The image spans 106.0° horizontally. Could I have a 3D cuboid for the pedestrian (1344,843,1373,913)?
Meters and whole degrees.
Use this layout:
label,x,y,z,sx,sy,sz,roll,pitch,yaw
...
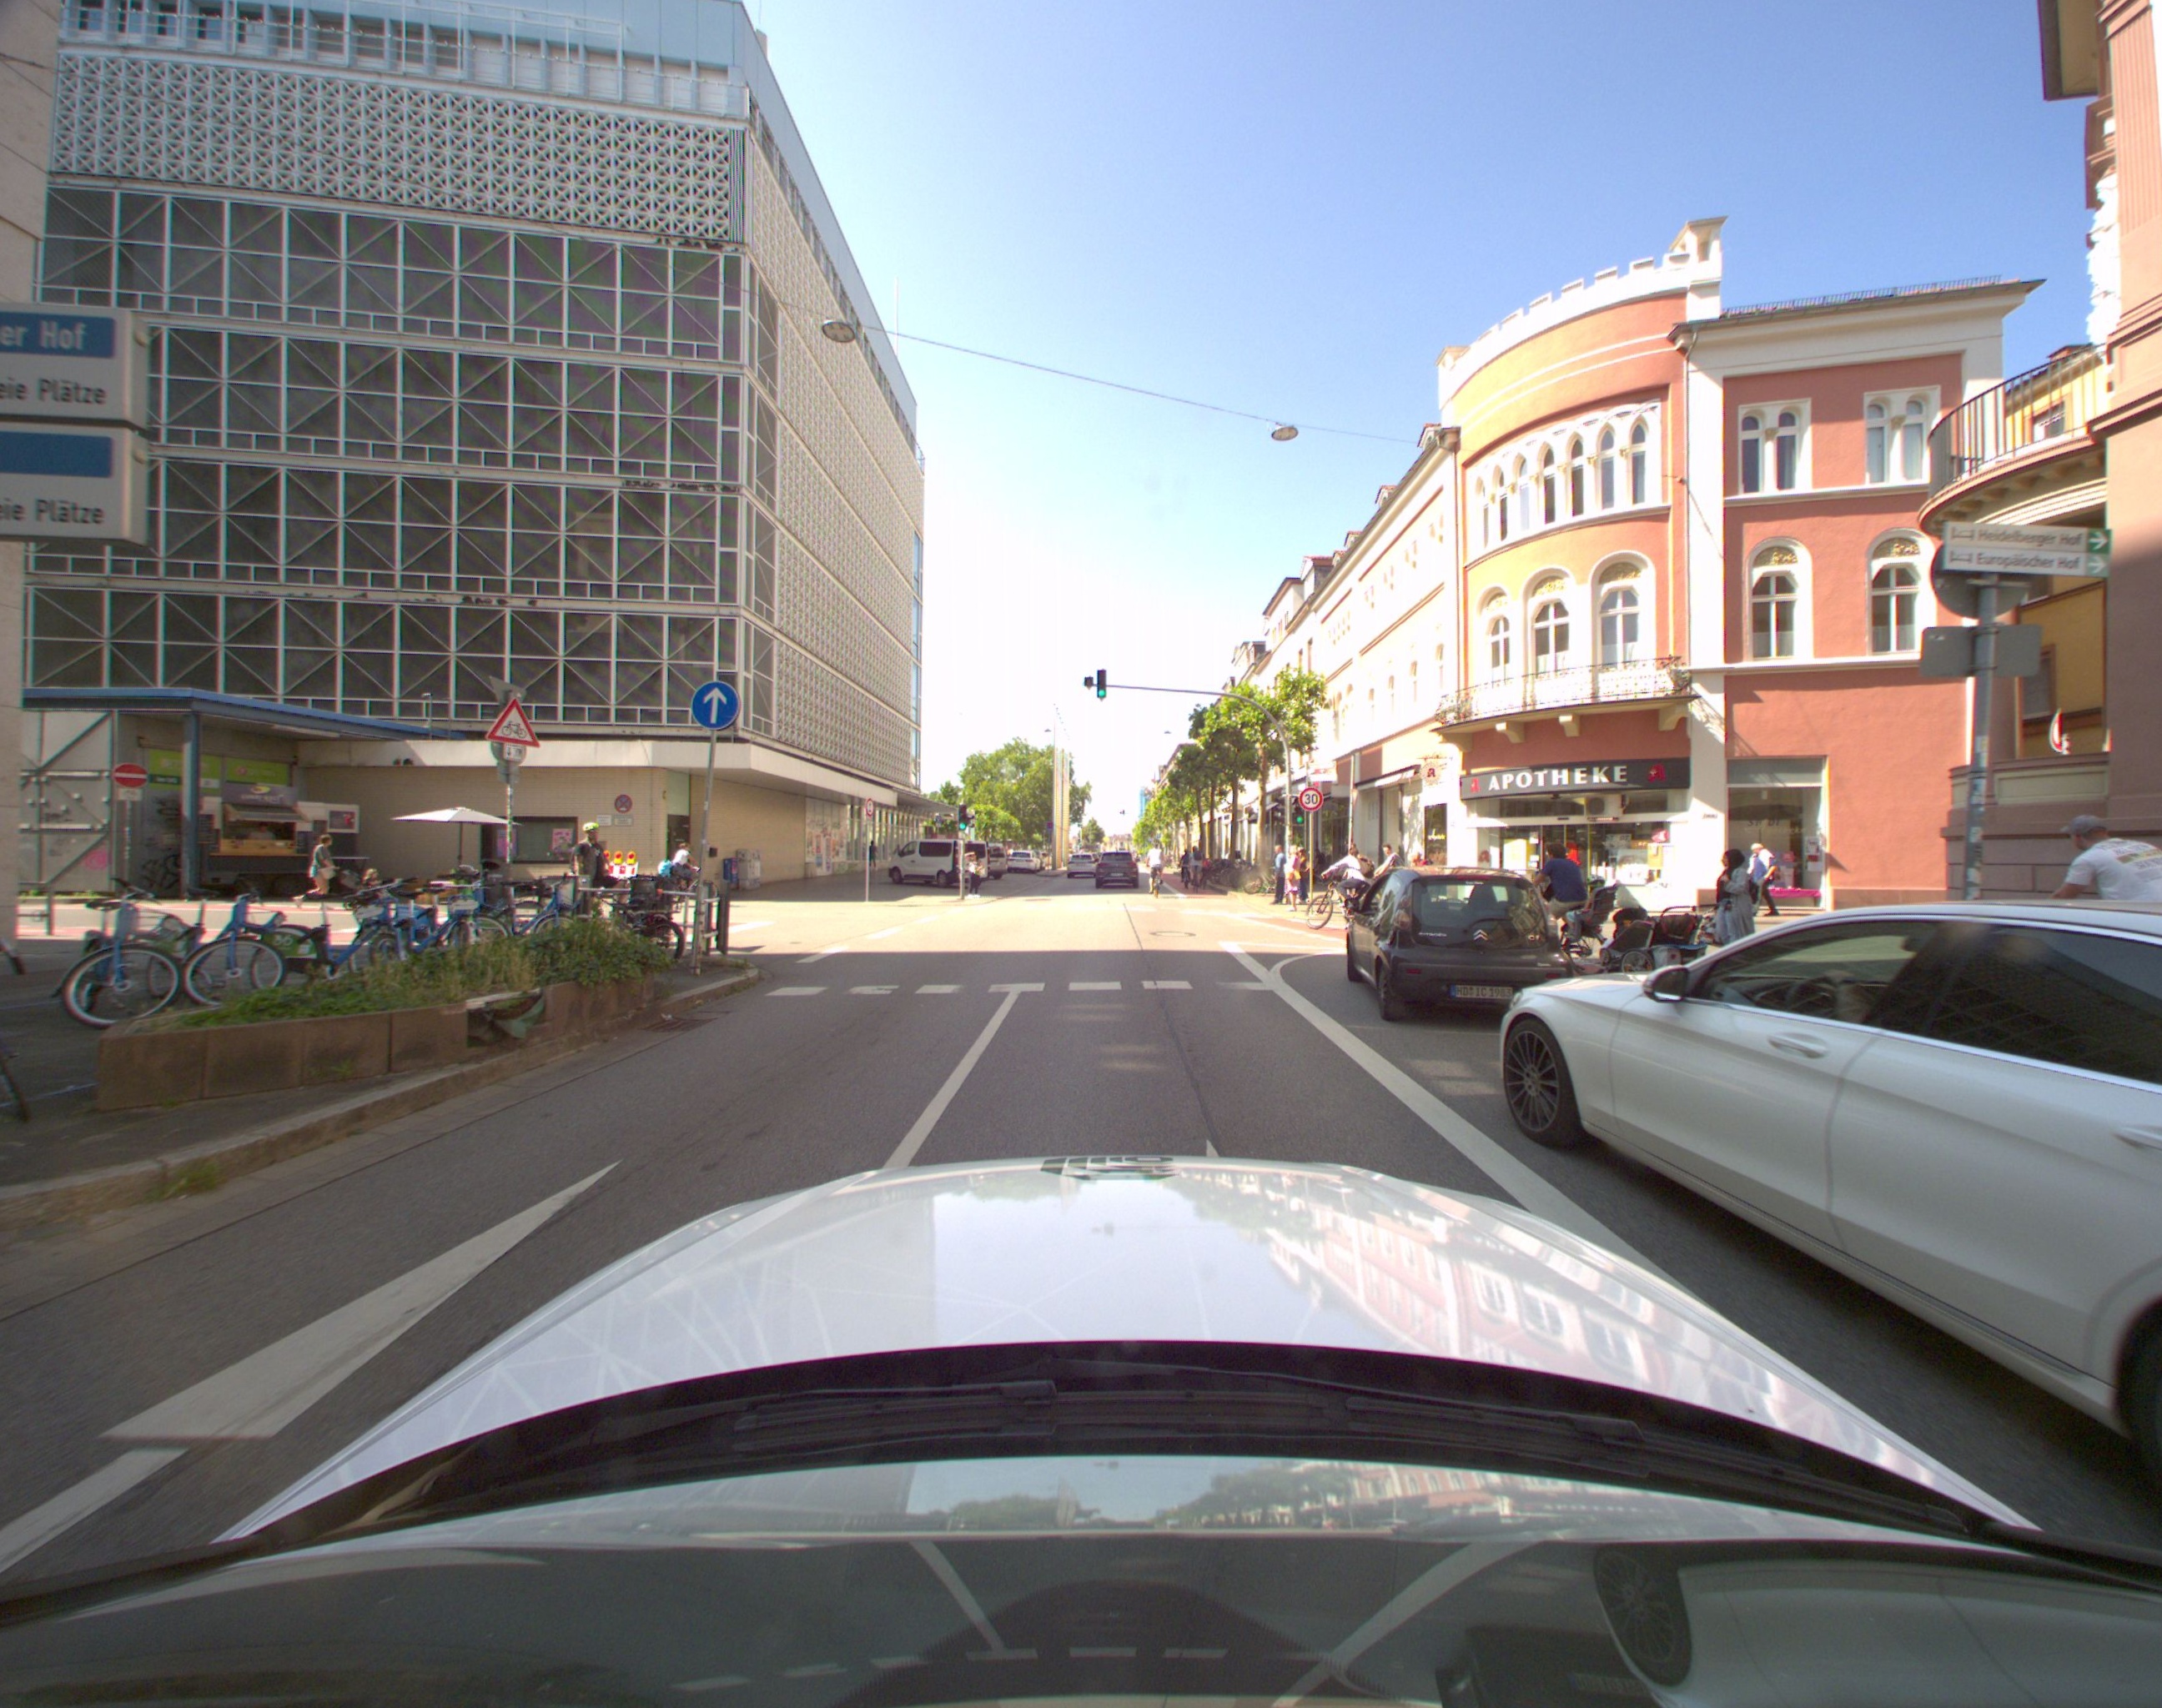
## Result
label,x,y,z,sx,sy,sz,roll,pitch,yaw
pedestrian,7.574,0.644,22.236,0.634,1.843,0.617,2,-1,14

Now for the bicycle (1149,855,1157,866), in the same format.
label,x,y,z,sx,sy,sz,roll,pitch,yaw
bicycle,6.846,0.604,77.490,0.644,0.998,2.032,0,0,2

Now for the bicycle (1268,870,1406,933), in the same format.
label,x,y,z,sx,sy,sz,roll,pitch,yaw
bicycle,5.072,0.905,16.276,2.540,1.127,0.632,1,0,34

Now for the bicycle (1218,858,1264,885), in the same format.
label,x,y,z,sx,sy,sz,roll,pitch,yaw
bicycle,6.649,0.723,33.893,1.831,1.127,0.644,0,-1,4

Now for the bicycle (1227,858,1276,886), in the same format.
label,x,y,z,sx,sy,sz,roll,pitch,yaw
bicycle,6.753,0.711,32.312,1.831,1.127,0.667,0,-1,4

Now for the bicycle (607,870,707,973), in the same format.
label,x,y,z,sx,sy,sz,roll,pitch,yaw
bicycle,-5.569,0.820,10.639,0.608,1.173,2.039,2,-1,-43

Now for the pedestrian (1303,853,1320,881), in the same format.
label,x,y,z,sx,sy,sz,roll,pitch,yaw
pedestrian,11.085,0.632,39.172,0.679,1.333,0.532,0,0,0

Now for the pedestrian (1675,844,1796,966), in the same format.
label,x,y,z,sx,sy,sz,roll,pitch,yaw
pedestrian,9.194,0.703,11.462,0.905,1.612,0.967,0,-3,-28

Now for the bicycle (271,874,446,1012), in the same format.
label,x,y,z,sx,sy,sz,roll,pitch,yaw
bicycle,-7.163,0.820,8.051,2.039,1.127,0.565,2,1,27

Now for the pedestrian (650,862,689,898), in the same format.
label,x,y,z,sx,sy,sz,roll,pitch,yaw
pedestrian,-12.902,0.809,25.558,0.719,1.057,0.841,4,0,1

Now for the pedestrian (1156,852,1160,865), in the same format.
label,x,y,z,sx,sy,sz,roll,pitch,yaw
pedestrian,9.869,0.622,104.235,0.546,1.631,0.590,-1,-1,5

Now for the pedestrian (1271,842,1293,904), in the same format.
label,x,y,z,sx,sy,sz,roll,pitch,yaw
pedestrian,5.878,0.551,23.875,0.451,1.795,0.608,2,0,0

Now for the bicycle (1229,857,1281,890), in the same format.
label,x,y,z,sx,sy,sz,roll,pitch,yaw
bicycle,6.460,0.725,30.238,1.825,1.126,0.347,2,1,17

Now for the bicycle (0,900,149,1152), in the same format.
label,x,y,z,sx,sy,sz,roll,pitch,yaw
bicycle,-6.036,0.806,4.137,2.131,1.127,0.485,2,1,3

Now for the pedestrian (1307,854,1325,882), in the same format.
label,x,y,z,sx,sy,sz,roll,pitch,yaw
pedestrian,10.982,0.651,38.033,0.679,1.253,0.532,-1,0,0

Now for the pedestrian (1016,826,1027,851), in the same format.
label,x,y,z,sx,sy,sz,roll,pitch,yaw
pedestrian,-4.329,-1.125,59.292,0.526,1.793,0.542,0,-2,42

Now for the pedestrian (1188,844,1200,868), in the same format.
label,x,y,z,sx,sy,sz,roll,pitch,yaw
pedestrian,8.059,0.160,58.221,0.637,1.689,0.843,3,1,0

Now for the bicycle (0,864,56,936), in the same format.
label,x,y,z,sx,sy,sz,roll,pitch,yaw
bicycle,-17.916,0.738,13.090,2.049,1.127,0.640,0,-3,2

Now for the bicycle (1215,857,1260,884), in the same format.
label,x,y,z,sx,sy,sz,roll,pitch,yaw
bicycle,6.717,0.715,34.939,1.831,1.127,0.667,0,-1,4

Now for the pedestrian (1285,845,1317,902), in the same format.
label,x,y,z,sx,sy,sz,roll,pitch,yaw
pedestrian,6.585,0.575,24.389,0.785,1.690,0.641,0,0,0

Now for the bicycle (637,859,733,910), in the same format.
label,x,y,z,sx,sy,sz,roll,pitch,yaw
bicycle,-10.814,0.793,22.293,0.727,1.267,2.225,0,1,45

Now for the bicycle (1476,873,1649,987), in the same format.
label,x,y,z,sx,sy,sz,roll,pitch,yaw
bicycle,6.428,0.957,11.066,0.731,1.268,2.276,1,1,-8

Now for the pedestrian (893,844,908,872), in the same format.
label,x,y,z,sx,sy,sz,roll,pitch,yaw
pedestrian,-9.944,0.230,44.942,0.677,1.559,0.640,0,0,-3

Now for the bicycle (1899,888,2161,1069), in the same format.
label,x,y,z,sx,sy,sz,roll,pitch,yaw
bicycle,7.567,0.888,6.106,0.571,1.127,2.071,-2,1,-9

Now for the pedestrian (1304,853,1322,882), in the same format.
label,x,y,z,sx,sy,sz,roll,pitch,yaw
pedestrian,10.979,0.624,38.578,0.679,1.338,0.532,0,0,0

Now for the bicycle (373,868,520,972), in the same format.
label,x,y,z,sx,sy,sz,roll,pitch,yaw
bicycle,-7.837,0.765,10.033,2.038,1.127,0.651,1,0,28

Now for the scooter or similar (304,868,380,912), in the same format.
label,x,y,z,sx,sy,sz,roll,pitch,yaw
scooter or similar,-16.836,0.814,18.582,0.973,0.965,0.896,1,-1,-19

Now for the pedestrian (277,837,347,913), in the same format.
label,x,y,z,sx,sy,sz,roll,pitch,yaw
pedestrian,-17.361,0.453,18.406,0.844,1.658,0.836,0,1,-17

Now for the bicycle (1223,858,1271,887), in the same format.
label,x,y,z,sx,sy,sz,roll,pitch,yaw
bicycle,6.417,0.708,31.553,1.829,1.127,0.668,0,-1,9

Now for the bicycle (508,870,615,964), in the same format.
label,x,y,z,sx,sy,sz,roll,pitch,yaw
bicycle,-7.141,0.811,11.155,2.038,1.169,0.609,-1,-1,39

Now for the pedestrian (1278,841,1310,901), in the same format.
label,x,y,z,sx,sy,sz,roll,pitch,yaw
pedestrian,6.570,0.520,25.101,0.785,1.795,0.641,1,0,0

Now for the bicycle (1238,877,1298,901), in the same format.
label,x,y,z,sx,sy,sz,roll,pitch,yaw
bicycle,6.548,1.228,28.629,1.142,0.434,1.842,-11,-5,-24

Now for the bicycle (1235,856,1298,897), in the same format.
label,x,y,z,sx,sy,sz,roll,pitch,yaw
bicycle,6.061,0.720,26.715,1.833,1.188,0.721,5,4,40

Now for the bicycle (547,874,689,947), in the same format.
label,x,y,z,sx,sy,sz,roll,pitch,yaw
bicycle,-7.727,0.923,13.626,1.975,1.127,0.801,0,1,9

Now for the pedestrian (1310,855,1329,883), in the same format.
label,x,y,z,sx,sy,sz,roll,pitch,yaw
pedestrian,10.969,0.671,37.434,0.637,1.253,0.608,-2,-1,0

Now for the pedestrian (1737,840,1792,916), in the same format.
label,x,y,z,sx,sy,sz,roll,pitch,yaw
pedestrian,15.498,0.529,18.485,0.634,1.658,0.793,1,2,13

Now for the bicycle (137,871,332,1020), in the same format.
label,x,y,z,sx,sy,sz,roll,pitch,yaw
bicycle,-7.855,0.775,7.527,2.300,1.127,0.565,2,0,27

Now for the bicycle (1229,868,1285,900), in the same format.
label,x,y,z,sx,sy,sz,roll,pitch,yaw
bicycle,6.354,1.086,29.439,1.842,0.397,1.019,8,-35,6

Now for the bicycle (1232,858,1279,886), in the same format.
label,x,y,z,sx,sy,sz,roll,pitch,yaw
bicycle,7.121,0.715,33.271,1.831,1.127,0.667,0,-1,4

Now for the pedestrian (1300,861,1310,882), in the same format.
label,x,y,z,sx,sy,sz,roll,pitch,yaw
pedestrian,10.337,0.820,37.574,0.363,0.968,0.437,0,0,4

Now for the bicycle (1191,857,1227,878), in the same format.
label,x,y,z,sx,sy,sz,roll,pitch,yaw
bicycle,6.999,0.745,44.526,1.833,1.093,0.565,2,0,2

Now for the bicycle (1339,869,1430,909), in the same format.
label,x,y,z,sx,sy,sz,roll,pitch,yaw
bicycle,6.698,0.767,18.016,1.814,0.844,0.501,0,0,3

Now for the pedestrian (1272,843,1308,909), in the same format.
label,x,y,z,sx,sy,sz,roll,pitch,yaw
pedestrian,5.541,0.586,21.600,0.637,1.709,0.789,-3,-2,-1

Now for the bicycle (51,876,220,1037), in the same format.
label,x,y,z,sx,sy,sz,roll,pitch,yaw
bicycle,-7.996,0.803,6.869,1.843,1.127,0.487,2,1,27

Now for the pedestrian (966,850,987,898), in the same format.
label,x,y,z,sx,sy,sz,roll,pitch,yaw
pedestrian,-3.506,0.673,27.422,0.639,1.559,0.679,2,0,-9

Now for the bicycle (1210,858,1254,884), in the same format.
label,x,y,z,sx,sy,sz,roll,pitch,yaw
bicycle,6.629,0.735,35.755,1.831,1.127,0.667,0,-1,4

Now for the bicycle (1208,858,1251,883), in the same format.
label,x,y,z,sx,sy,sz,roll,pitch,yaw
bicycle,6.630,0.738,36.451,1.831,1.127,0.530,0,-1,4

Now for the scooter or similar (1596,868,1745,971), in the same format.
label,x,y,z,sx,sy,sz,roll,pitch,yaw
scooter or similar,6.839,0.734,9.515,0.782,1.061,1.123,-4,-2,-6

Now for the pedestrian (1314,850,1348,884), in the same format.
label,x,y,z,sx,sy,sz,roll,pitch,yaw
pedestrian,10.829,0.569,35.257,1.229,1.422,0.789,0,-1,0
